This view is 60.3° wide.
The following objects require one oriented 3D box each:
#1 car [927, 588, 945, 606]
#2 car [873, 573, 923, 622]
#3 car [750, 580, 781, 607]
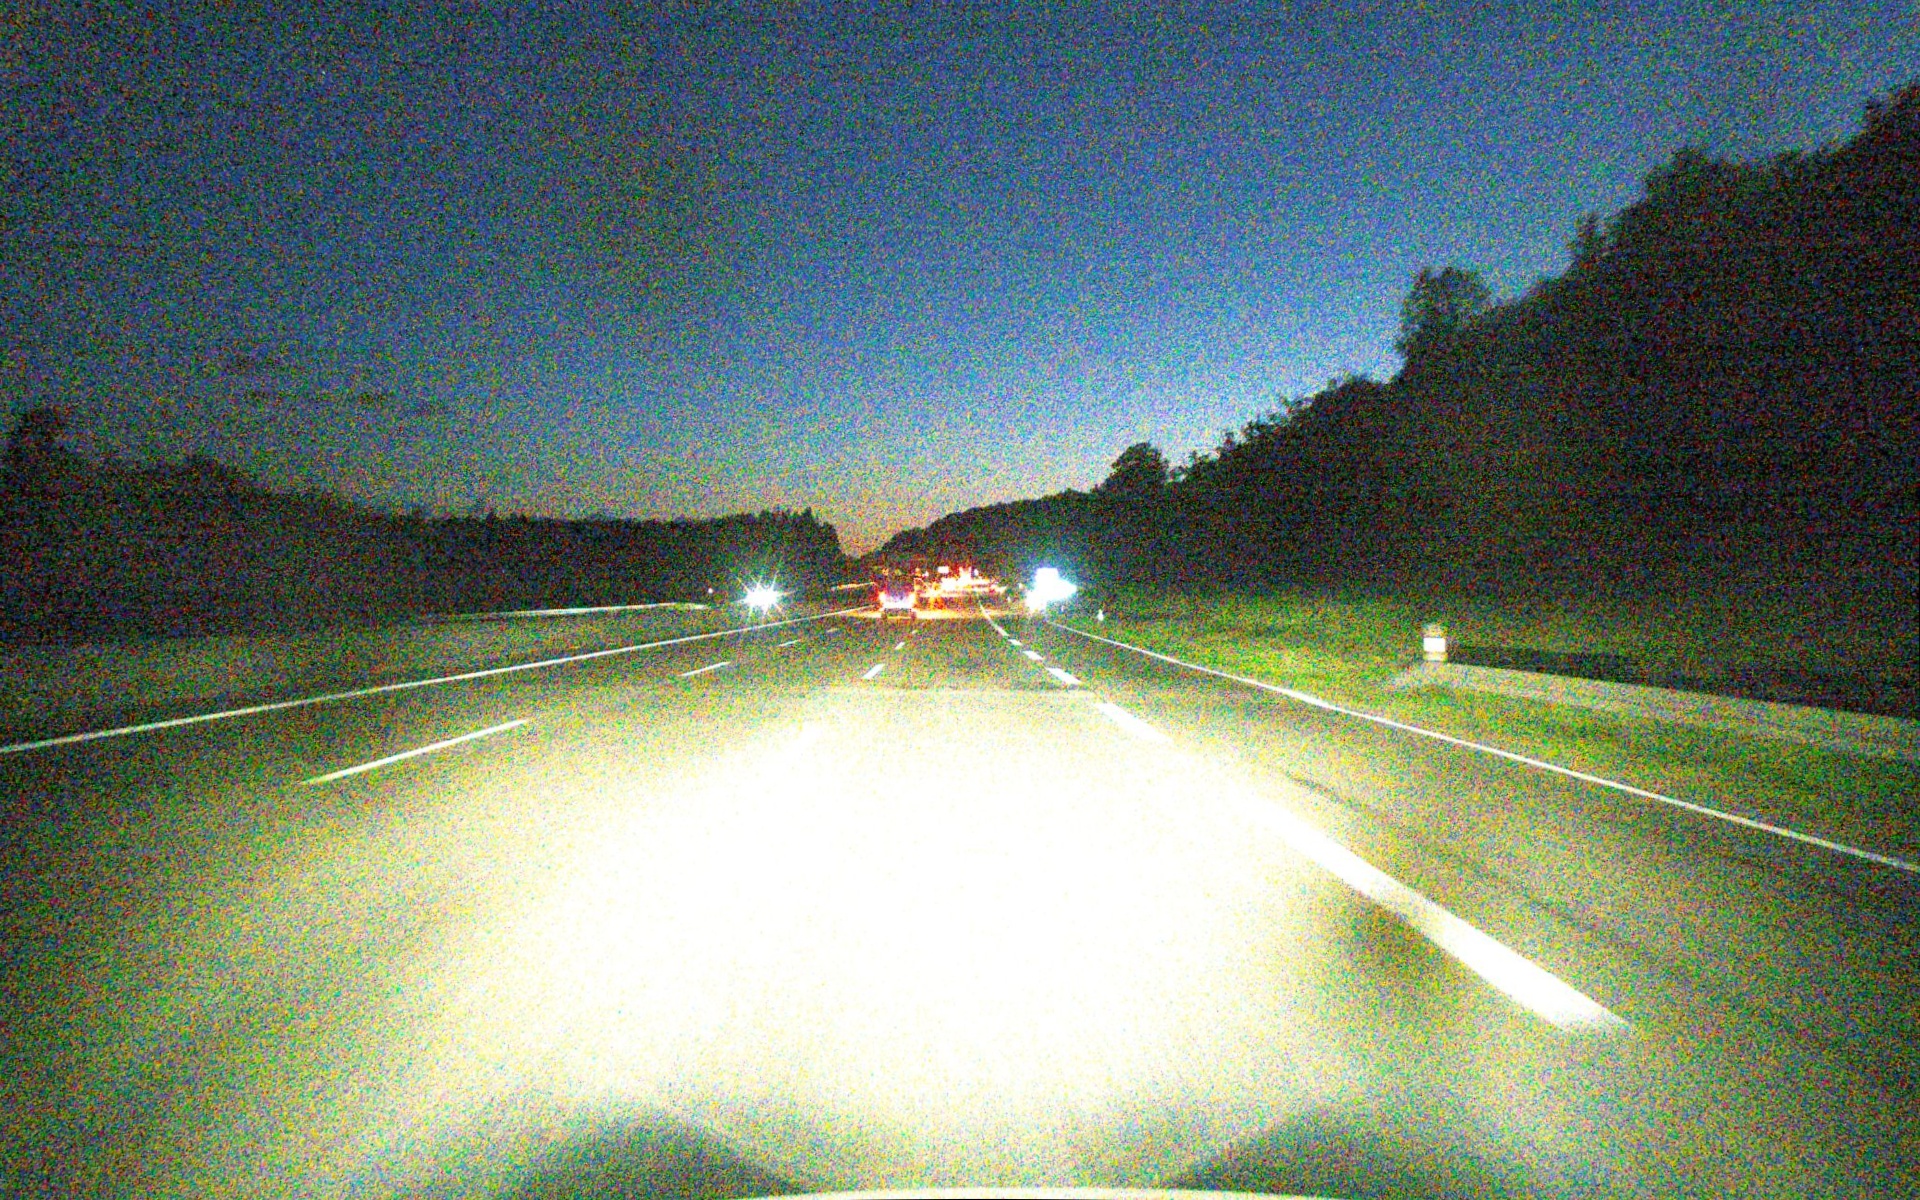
[{"bbox_3d":[-3.749,-0.436,257.338,2.730,2.781,6.297,-1,-1,-1],"label":"car"},{"bbox_3d":[-3.647,-0.111,98.410,2.730,2.781,6.298,-1,-1,0],"label":"car"},{"bbox_3d":[-22.099,-0.729,188.518,2.788,2.989,6.601,0,0,-1],"label":"car"}]
